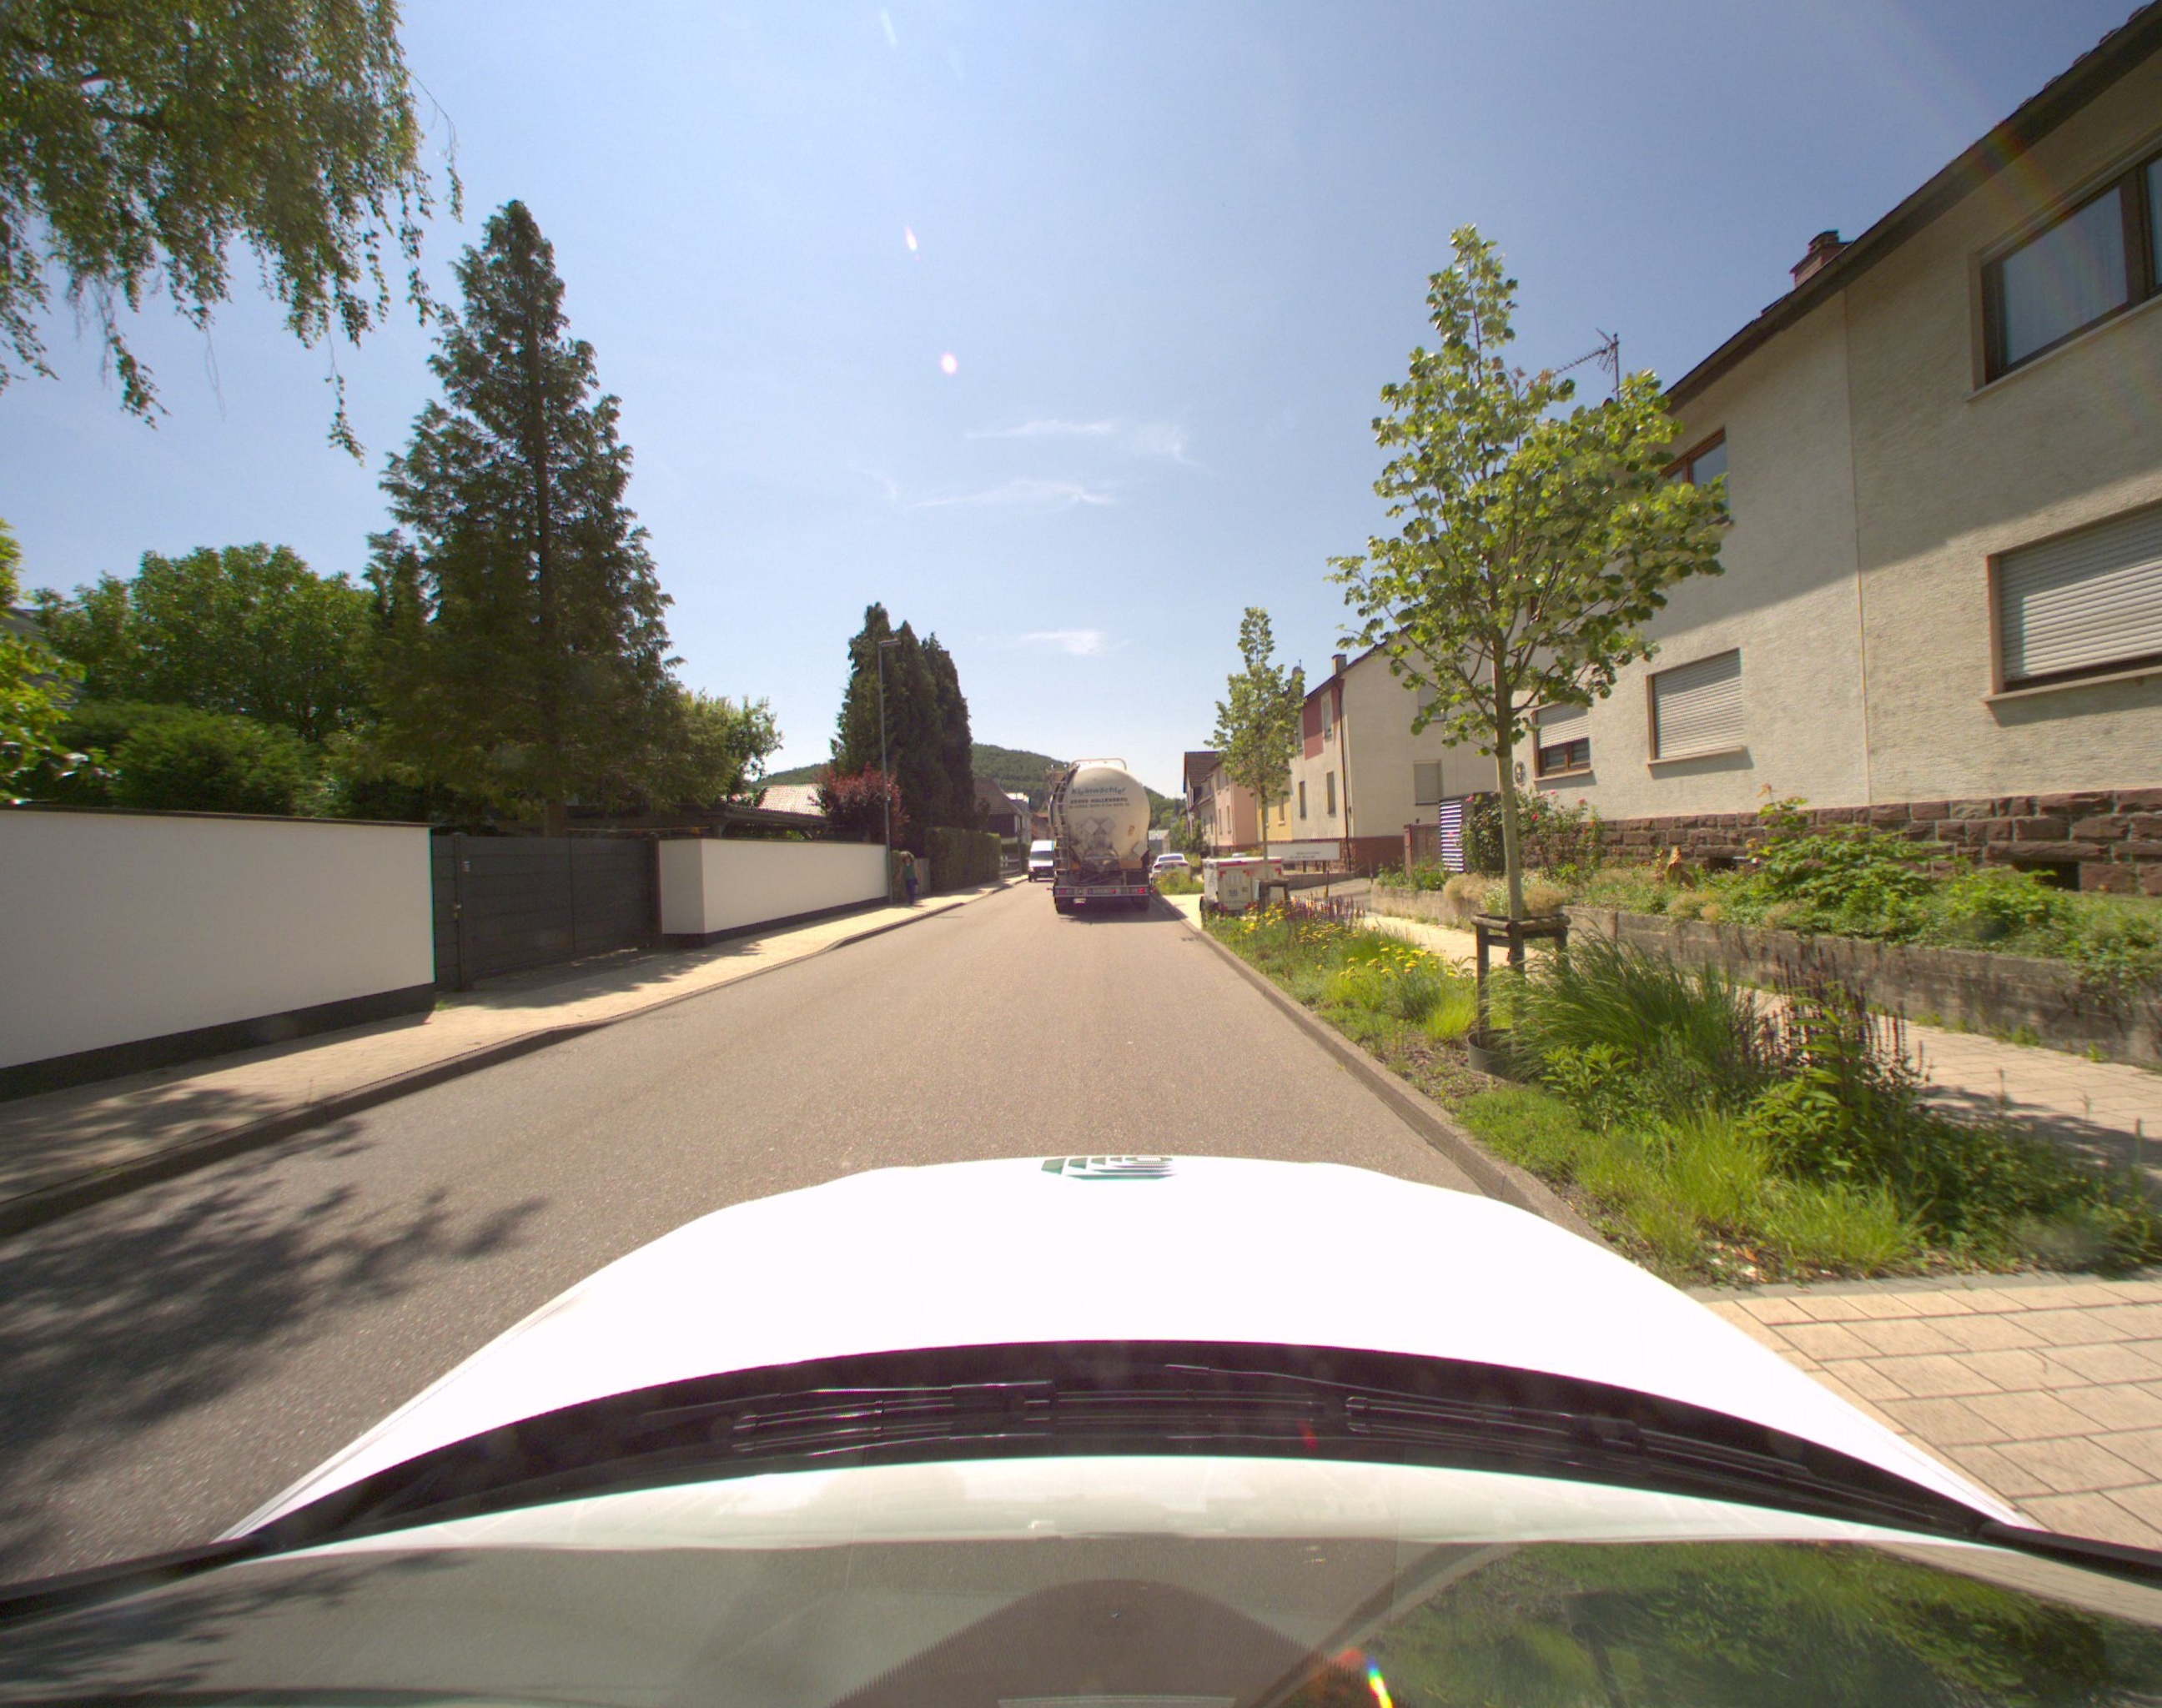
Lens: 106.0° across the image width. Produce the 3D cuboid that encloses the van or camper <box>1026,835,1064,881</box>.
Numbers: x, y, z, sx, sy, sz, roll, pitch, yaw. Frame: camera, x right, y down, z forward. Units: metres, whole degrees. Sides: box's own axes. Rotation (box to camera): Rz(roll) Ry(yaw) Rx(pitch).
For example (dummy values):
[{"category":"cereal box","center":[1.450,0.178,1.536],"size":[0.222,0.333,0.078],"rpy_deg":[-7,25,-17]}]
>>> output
[{"category":"van or camper","center":[-2.248,0.301,52.142],"size":[2.030,2.714,5.824],"rpy_deg":[-1,-1,1]}]

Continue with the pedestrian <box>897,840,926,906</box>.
[{"category":"pedestrian","center":[-5.273,0.581,25.428],"size":[0.718,2.014,0.804],"rpy_deg":[0,-1,0]}]

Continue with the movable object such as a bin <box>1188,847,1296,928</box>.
[{"category":"movable object such as a bin","center":[3.142,0.639,16.436],"size":[1.566,1.417,3.041],"rpy_deg":[-3,-1,1]}]

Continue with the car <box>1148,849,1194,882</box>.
[{"category":"car","center":[4.320,0.604,39.797],"size":[1.750,1.418,4.633],"rpy_deg":[-4,-2,1]}]

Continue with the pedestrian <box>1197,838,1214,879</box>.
[{"category":"pedestrian","center":[6.179,0.247,40.480],"size":[0.743,2.014,1.034],"rpy_deg":[-1,-1,3]}]

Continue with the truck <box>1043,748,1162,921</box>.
[{"category":"truck","center":[0.605,-0.455,24.795],"size":[2.740,4.057,10.890],"rpy_deg":[-1,0,1]}]

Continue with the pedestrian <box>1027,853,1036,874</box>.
[{"category":"pedestrian","center":[-4.227,0.831,69.879],"size":[0.710,1.823,0.897],"rpy_deg":[0,-1,-2]}]
